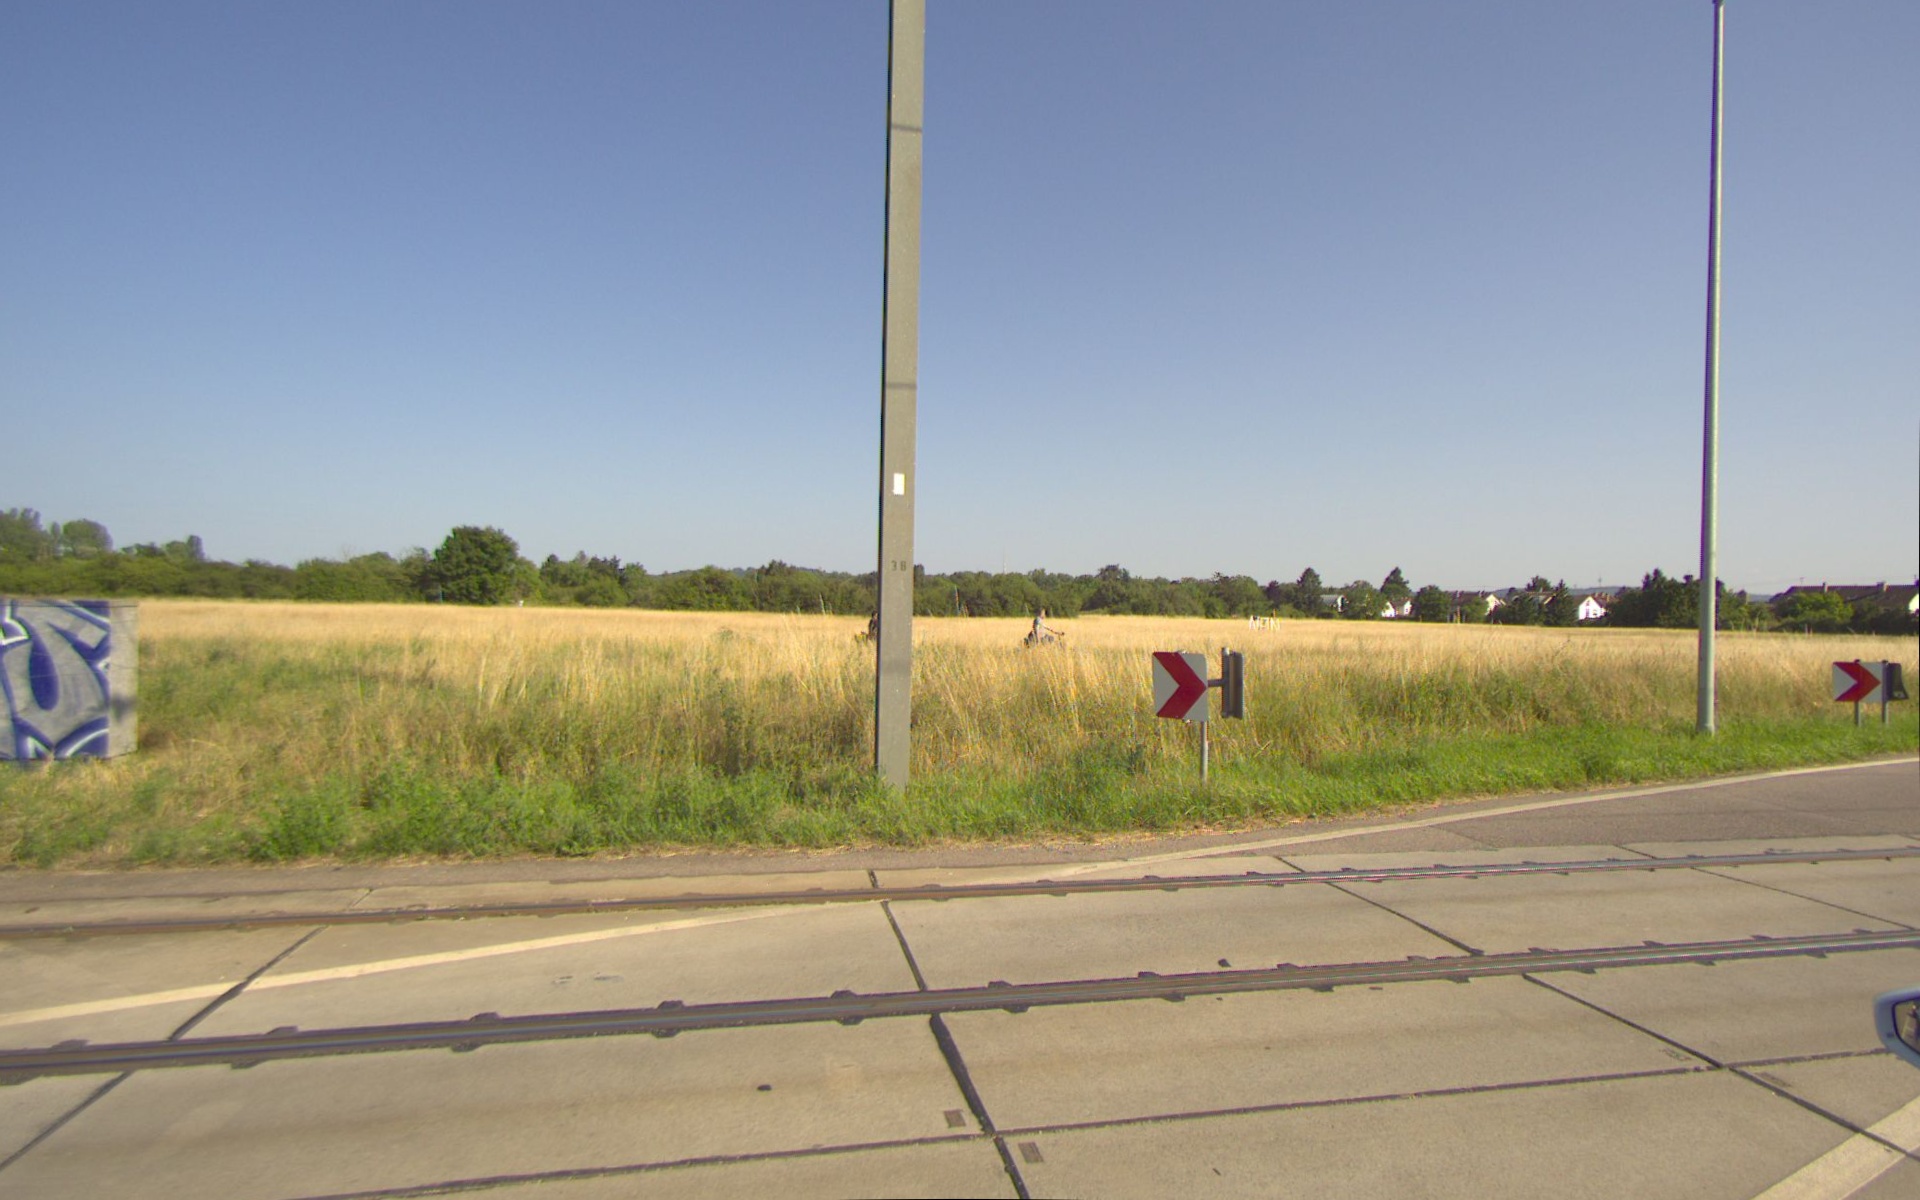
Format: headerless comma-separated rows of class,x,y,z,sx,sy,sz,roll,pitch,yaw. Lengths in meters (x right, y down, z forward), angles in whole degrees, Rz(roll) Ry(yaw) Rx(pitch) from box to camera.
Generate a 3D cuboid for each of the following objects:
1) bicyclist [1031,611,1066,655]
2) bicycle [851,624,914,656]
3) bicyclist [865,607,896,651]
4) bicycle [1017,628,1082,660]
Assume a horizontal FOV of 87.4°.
bicyclist,2.530,0.934,28.765,0.776,1.221,0.746,1,0,-13
bicycle,-2.189,1.137,28.300,1.706,0.850,0.613,1,0,-13
bicyclist,-2.239,0.804,28.284,0.776,1.221,0.603,1,0,-13
bicycle,2.561,1.271,28.776,1.706,0.850,0.750,2,0,-13
